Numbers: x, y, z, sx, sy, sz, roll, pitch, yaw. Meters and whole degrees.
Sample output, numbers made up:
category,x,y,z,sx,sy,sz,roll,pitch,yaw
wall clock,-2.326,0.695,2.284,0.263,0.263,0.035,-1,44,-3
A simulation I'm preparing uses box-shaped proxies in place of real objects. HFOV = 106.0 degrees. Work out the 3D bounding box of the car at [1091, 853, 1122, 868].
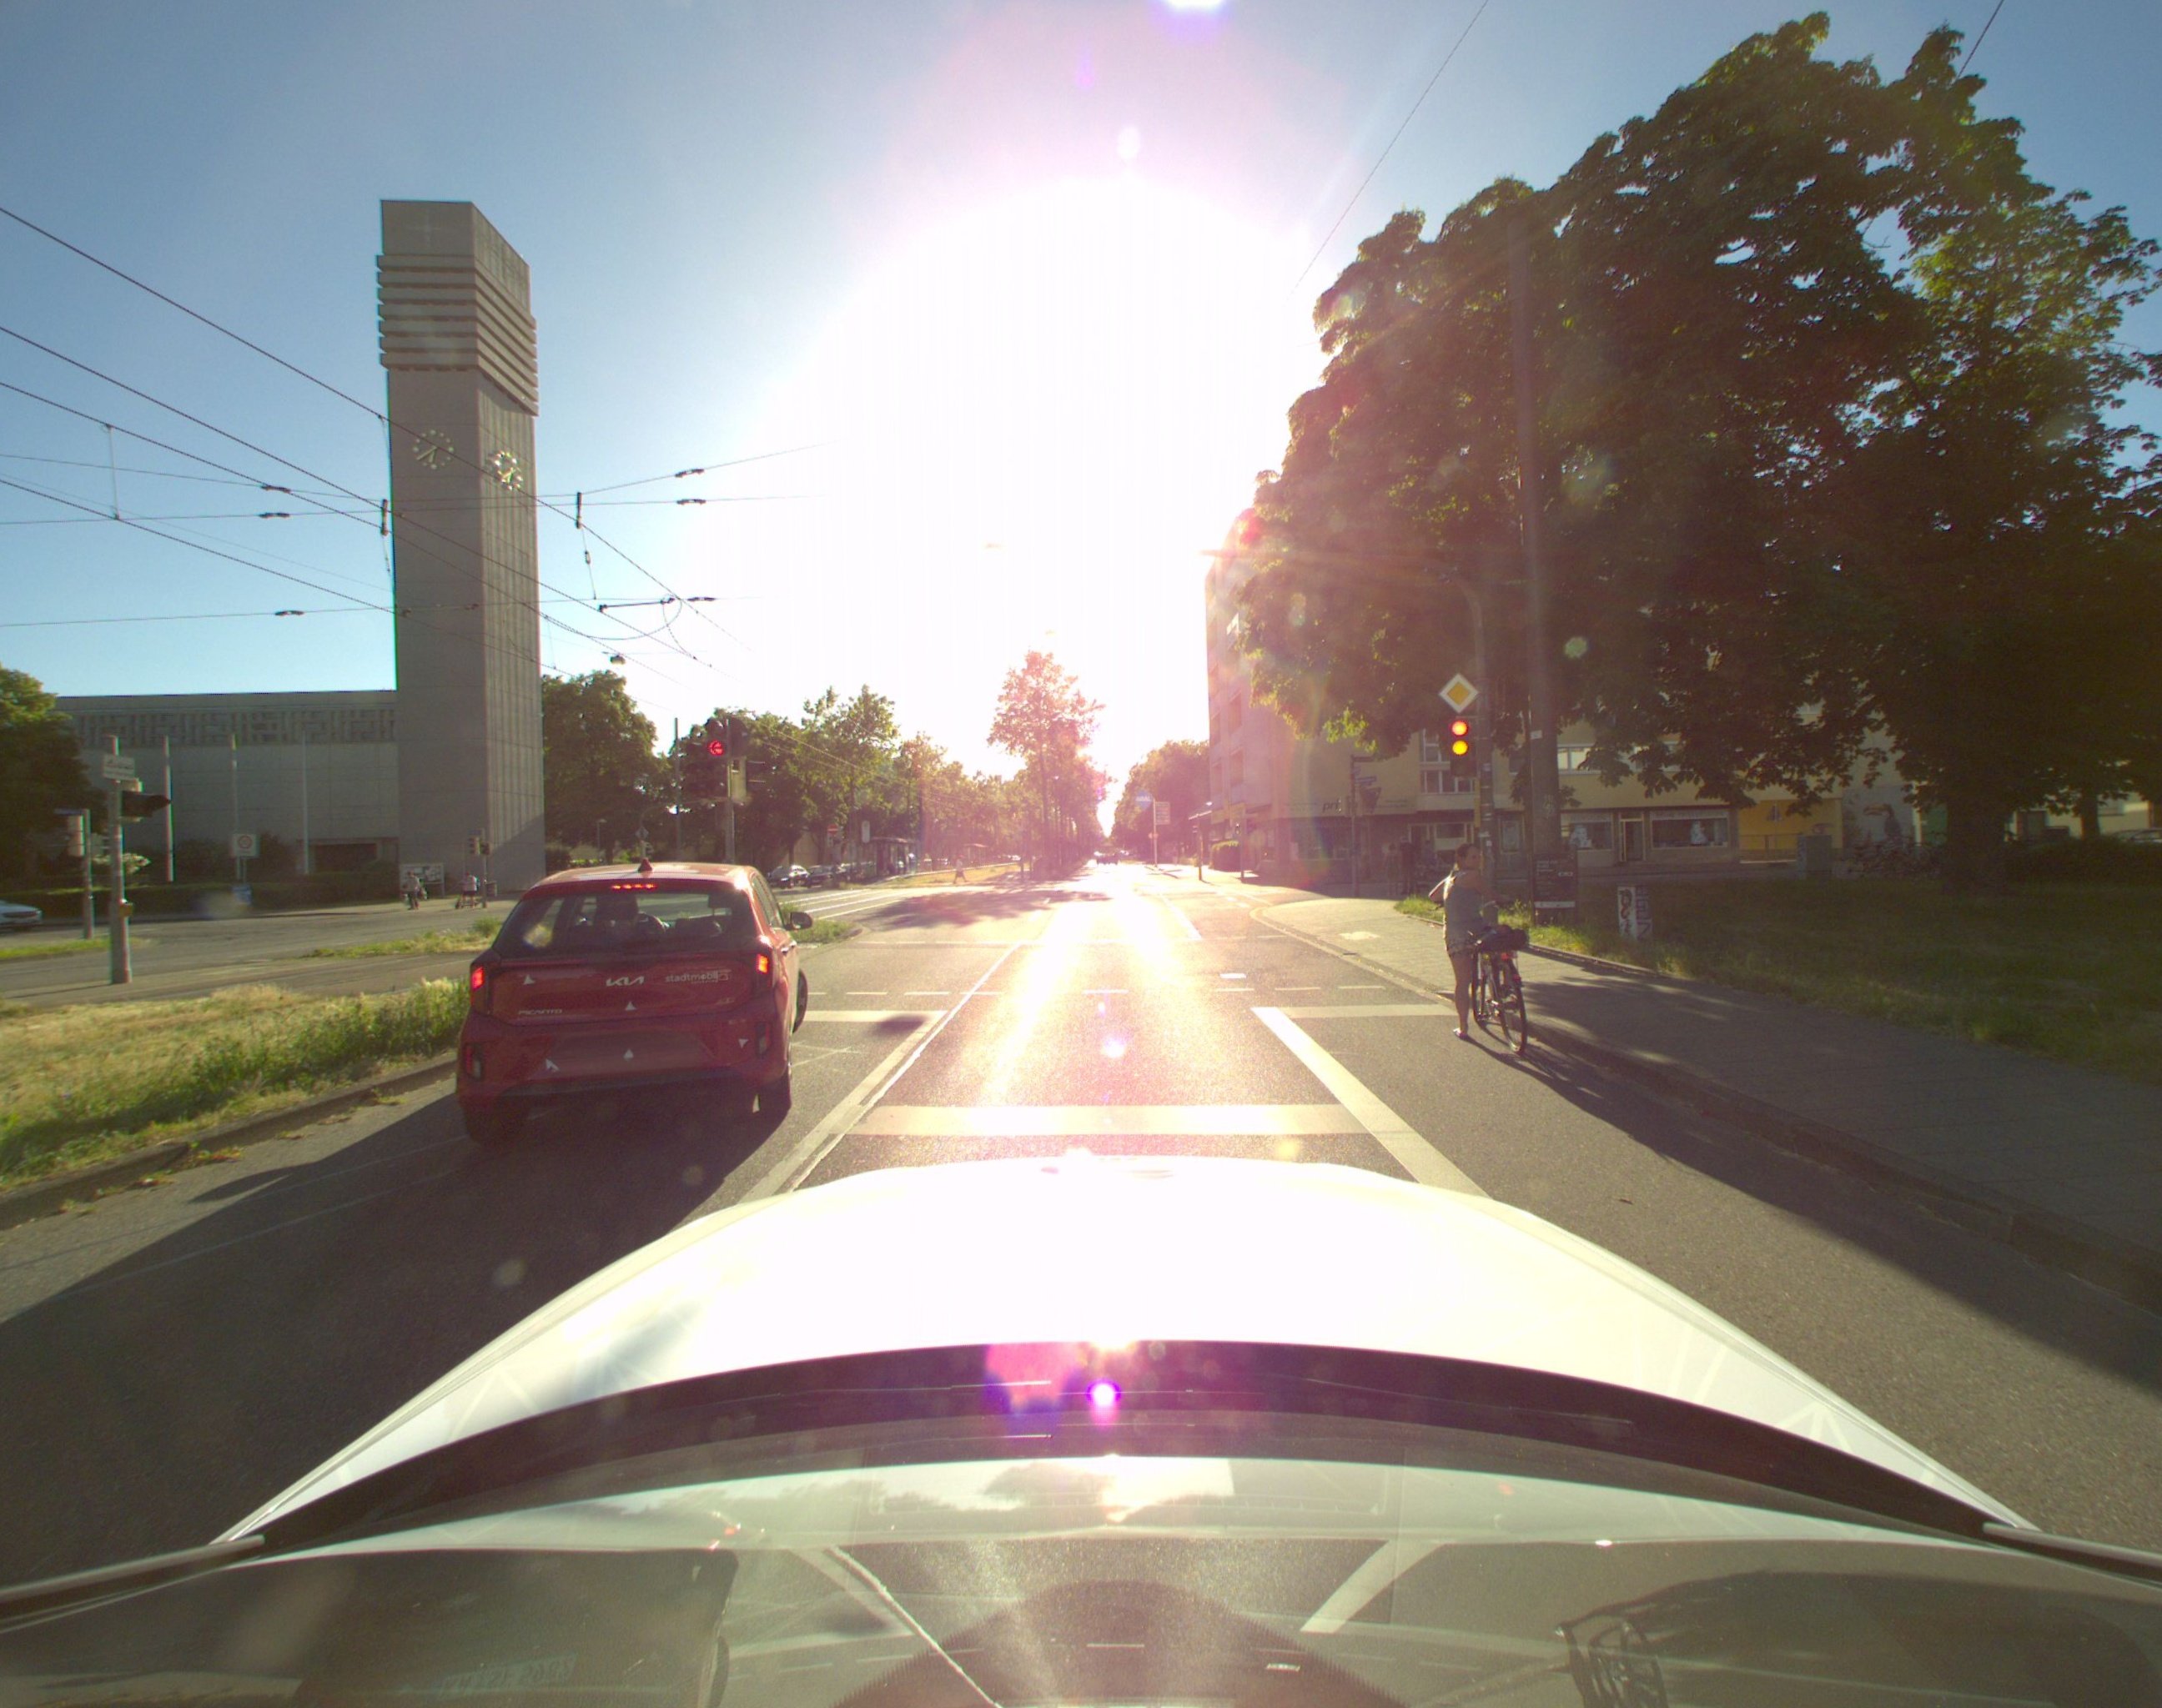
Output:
category,x,y,z,sx,sy,sz,roll,pitch,yaw
car,3.146,0.806,101.411,2.019,1.860,3.958,1,0,-34

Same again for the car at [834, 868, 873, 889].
category,x,y,z,sx,sy,sz,roll,pitch,yaw
car,-16.557,1.760,59.417,1.560,1.402,3.916,1,0,2

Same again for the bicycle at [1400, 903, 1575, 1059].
category,x,y,z,sx,sy,sz,roll,pitch,yaw
bicycle,3.201,0.941,6.610,0.645,0.972,1.806,1,0,4

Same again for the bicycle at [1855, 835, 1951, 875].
category,x,y,z,sx,sy,sz,roll,pitch,yaw
bicycle,21.966,0.027,21.819,0.595,1.034,2.007,1,0,1

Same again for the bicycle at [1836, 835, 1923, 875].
category,x,y,z,sx,sy,sz,roll,pitch,yaw
bicycle,21.319,0.029,21.784,0.595,1.034,1.796,1,0,1

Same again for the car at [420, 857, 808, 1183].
category,x,y,z,sx,sy,sz,roll,pitch,yaw
car,-2.860,0.781,5.835,1.699,1.508,3.676,0,0,-18

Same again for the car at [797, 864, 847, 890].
category,x,y,z,sx,sy,sz,roll,pitch,yaw
car,-16.840,1.450,53.210,1.681,1.533,4.362,-2,0,2

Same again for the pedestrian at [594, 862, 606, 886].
category,x,y,z,sx,sy,sz,roll,pitch,yaw
pedestrian,-31.131,1.286,52.688,0.434,1.507,0.488,1,0,-3

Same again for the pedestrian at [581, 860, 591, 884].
category,x,y,z,sx,sy,sz,roll,pitch,yaw
pedestrian,-31.975,1.177,52.591,0.434,1.560,0.305,1,0,-3

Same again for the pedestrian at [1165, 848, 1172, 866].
category,x,y,z,sx,sy,sz,roll,pitch,yaw
pedestrian,8.476,0.268,78.679,0.572,1.747,0.506,1,0,1

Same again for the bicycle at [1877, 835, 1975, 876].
category,x,y,z,sx,sy,sz,roll,pitch,yaw
bicycle,22.619,0.038,21.861,0.595,1.034,1.991,1,0,1

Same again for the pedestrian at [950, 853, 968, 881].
category,x,y,z,sx,sy,sz,roll,pitch,yaw
pedestrian,-6.845,0.726,45.844,0.887,1.606,0.614,1,0,1

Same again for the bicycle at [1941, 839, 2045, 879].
category,x,y,z,sx,sy,sz,roll,pitch,yaw
bicycle,24.494,0.132,21.932,0.595,1.034,2.007,1,0,1

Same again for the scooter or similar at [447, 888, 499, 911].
category,x,y,z,sx,sy,sz,roll,pitch,yaw
scooter or similar,-27.198,2.034,36.448,1.737,0.899,0.561,-2,0,-14

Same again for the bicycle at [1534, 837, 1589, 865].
category,x,y,z,sx,sy,sz,roll,pitch,yaw
bicycle,25.056,-0.151,42.481,2.462,1.399,0.608,1,0,0

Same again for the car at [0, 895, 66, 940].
category,x,y,z,sx,sy,sz,roll,pitch,yaw
car,-38.910,2.181,28.199,4.694,1.401,1.997,1,0,-5

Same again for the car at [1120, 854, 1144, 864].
category,x,y,z,sx,sy,sz,roll,pitch,yaw
car,9.256,0.839,147.765,4.009,1.750,1.740,1,0,-27

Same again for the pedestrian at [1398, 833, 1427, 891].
category,x,y,z,sx,sy,sz,roll,pitch,yaw
pedestrian,9.829,0.231,24.149,0.724,1.682,0.534,1,0,14

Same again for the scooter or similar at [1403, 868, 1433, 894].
category,x,y,z,sx,sy,sz,roll,pitch,yaw
scooter or similar,9.906,0.781,23.950,0.595,0.737,0.681,1,0,1

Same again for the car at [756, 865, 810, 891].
category,x,y,z,sx,sy,sz,roll,pitch,yaw
car,-19.433,1.539,53.298,1.800,1.533,4.362,-2,0,2

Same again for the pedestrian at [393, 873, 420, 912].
category,x,y,z,sx,sy,sz,roll,pitch,yaw
pedestrian,-29.588,1.673,35.729,0.440,1.666,0.748,1,0,11

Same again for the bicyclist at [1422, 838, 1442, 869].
category,x,y,z,sx,sy,sz,roll,pitch,yaw
bicyclist,17.213,-0.046,39.933,0.762,1.471,0.902,-3,0,18

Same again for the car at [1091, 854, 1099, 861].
category,x,y,z,sx,sy,sz,roll,pitch,yaw
car,3.104,0.713,179.959,1.887,1.611,4.500,1,0,0

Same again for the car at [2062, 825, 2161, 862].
category,x,y,z,sx,sy,sz,roll,pitch,yaw
car,46.804,-0.491,35.256,5.043,1.494,2.243,-1,2,25

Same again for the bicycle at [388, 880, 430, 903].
category,x,y,z,sx,sy,sz,roll,pitch,yaw
bicycle,-33.584,1.854,40.708,0.488,1.046,1.687,1,0,9

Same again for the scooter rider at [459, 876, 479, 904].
category,x,y,z,sx,sy,sz,roll,pitch,yaw
scooter rider,-27.363,1.604,36.416,0.526,1.218,0.585,1,0,-13

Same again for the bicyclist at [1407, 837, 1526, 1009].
category,x,y,z,sx,sy,sz,roll,pitch,yaw
bicyclist,3.160,0.536,6.743,0.635,1.323,0.804,1,0,4

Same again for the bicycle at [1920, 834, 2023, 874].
category,x,y,z,sx,sy,sz,roll,pitch,yaw
bicycle,23.889,0.004,21.901,0.595,1.034,2.007,1,0,1

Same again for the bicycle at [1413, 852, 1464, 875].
category,x,y,z,sx,sy,sz,roll,pitch,yaw
bicycle,17.503,0.462,39.900,2.234,0.987,0.792,-1,5,16

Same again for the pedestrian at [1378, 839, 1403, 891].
category,x,y,z,sx,sy,sz,roll,pitch,yaw
pedestrian,9.150,0.314,24.085,0.642,1.522,0.498,1,0,14

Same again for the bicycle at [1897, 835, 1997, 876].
category,x,y,z,sx,sy,sz,roll,pitch,yaw
bicycle,23.251,0.032,21.922,0.595,1.034,2.007,1,0,1
